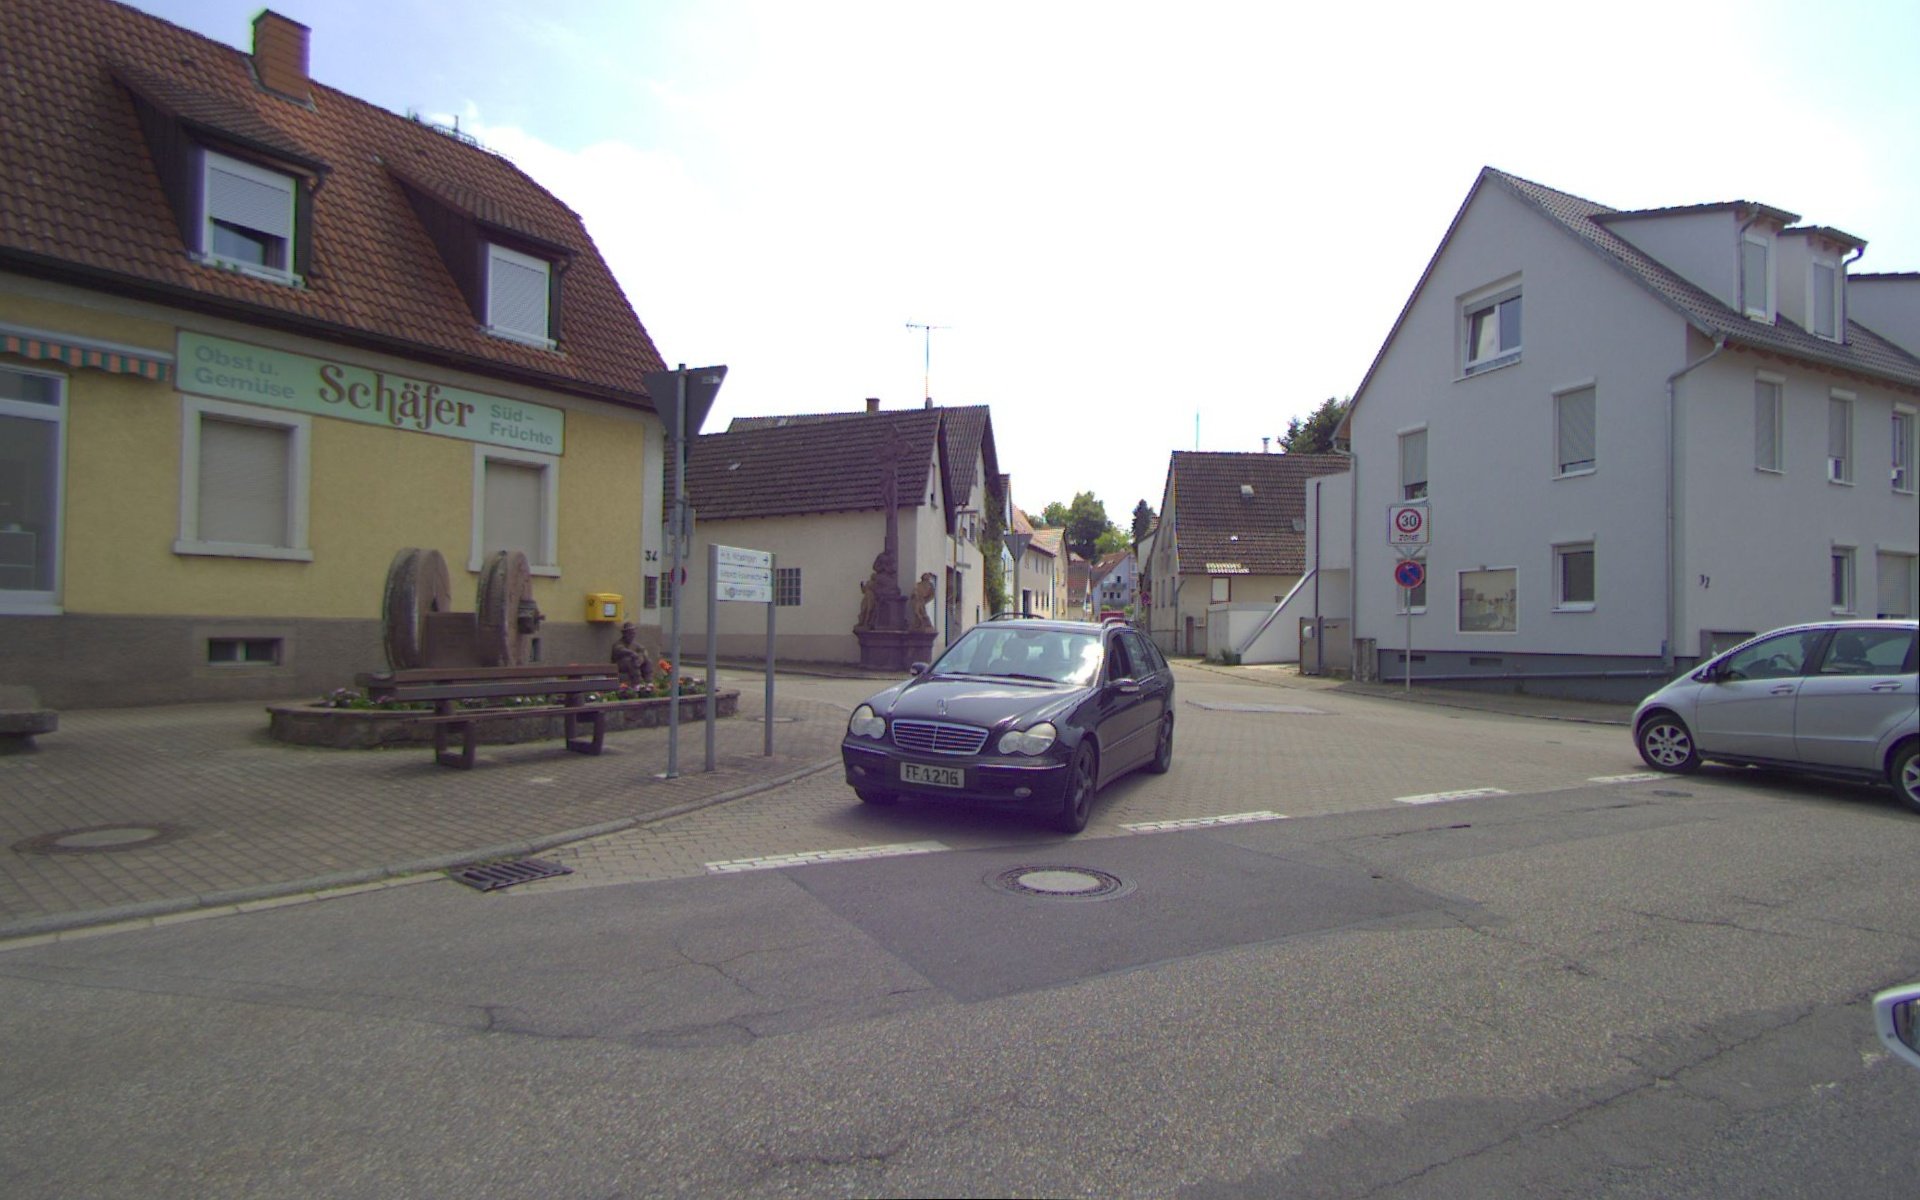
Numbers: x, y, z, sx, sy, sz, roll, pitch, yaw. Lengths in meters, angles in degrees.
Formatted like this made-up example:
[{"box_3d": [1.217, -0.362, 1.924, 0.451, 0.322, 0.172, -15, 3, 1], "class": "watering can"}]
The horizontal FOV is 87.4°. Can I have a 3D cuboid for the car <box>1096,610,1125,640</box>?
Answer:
[{"box_3d": [8.991, 1.524, 60.108, 1.369, 1.656, 3.478, 2, -2, 4], "class": "car"}]

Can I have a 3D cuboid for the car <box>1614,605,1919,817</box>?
[{"box_3d": [8.369, 0.919, 9.379, 1.783, 1.665, 3.725, 2, 0, -7], "class": "car"}]

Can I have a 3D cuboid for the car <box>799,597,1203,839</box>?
[{"box_3d": [0.701, 0.828, 8.601, 1.780, 1.430, 4.634, 2, -2, 25], "class": "car"}]

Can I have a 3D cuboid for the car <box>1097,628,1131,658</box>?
[{"box_3d": [8.332, 2.322, 54.526, 1.461, 1.550, 3.478, 2, -2, 4], "class": "car"}]
